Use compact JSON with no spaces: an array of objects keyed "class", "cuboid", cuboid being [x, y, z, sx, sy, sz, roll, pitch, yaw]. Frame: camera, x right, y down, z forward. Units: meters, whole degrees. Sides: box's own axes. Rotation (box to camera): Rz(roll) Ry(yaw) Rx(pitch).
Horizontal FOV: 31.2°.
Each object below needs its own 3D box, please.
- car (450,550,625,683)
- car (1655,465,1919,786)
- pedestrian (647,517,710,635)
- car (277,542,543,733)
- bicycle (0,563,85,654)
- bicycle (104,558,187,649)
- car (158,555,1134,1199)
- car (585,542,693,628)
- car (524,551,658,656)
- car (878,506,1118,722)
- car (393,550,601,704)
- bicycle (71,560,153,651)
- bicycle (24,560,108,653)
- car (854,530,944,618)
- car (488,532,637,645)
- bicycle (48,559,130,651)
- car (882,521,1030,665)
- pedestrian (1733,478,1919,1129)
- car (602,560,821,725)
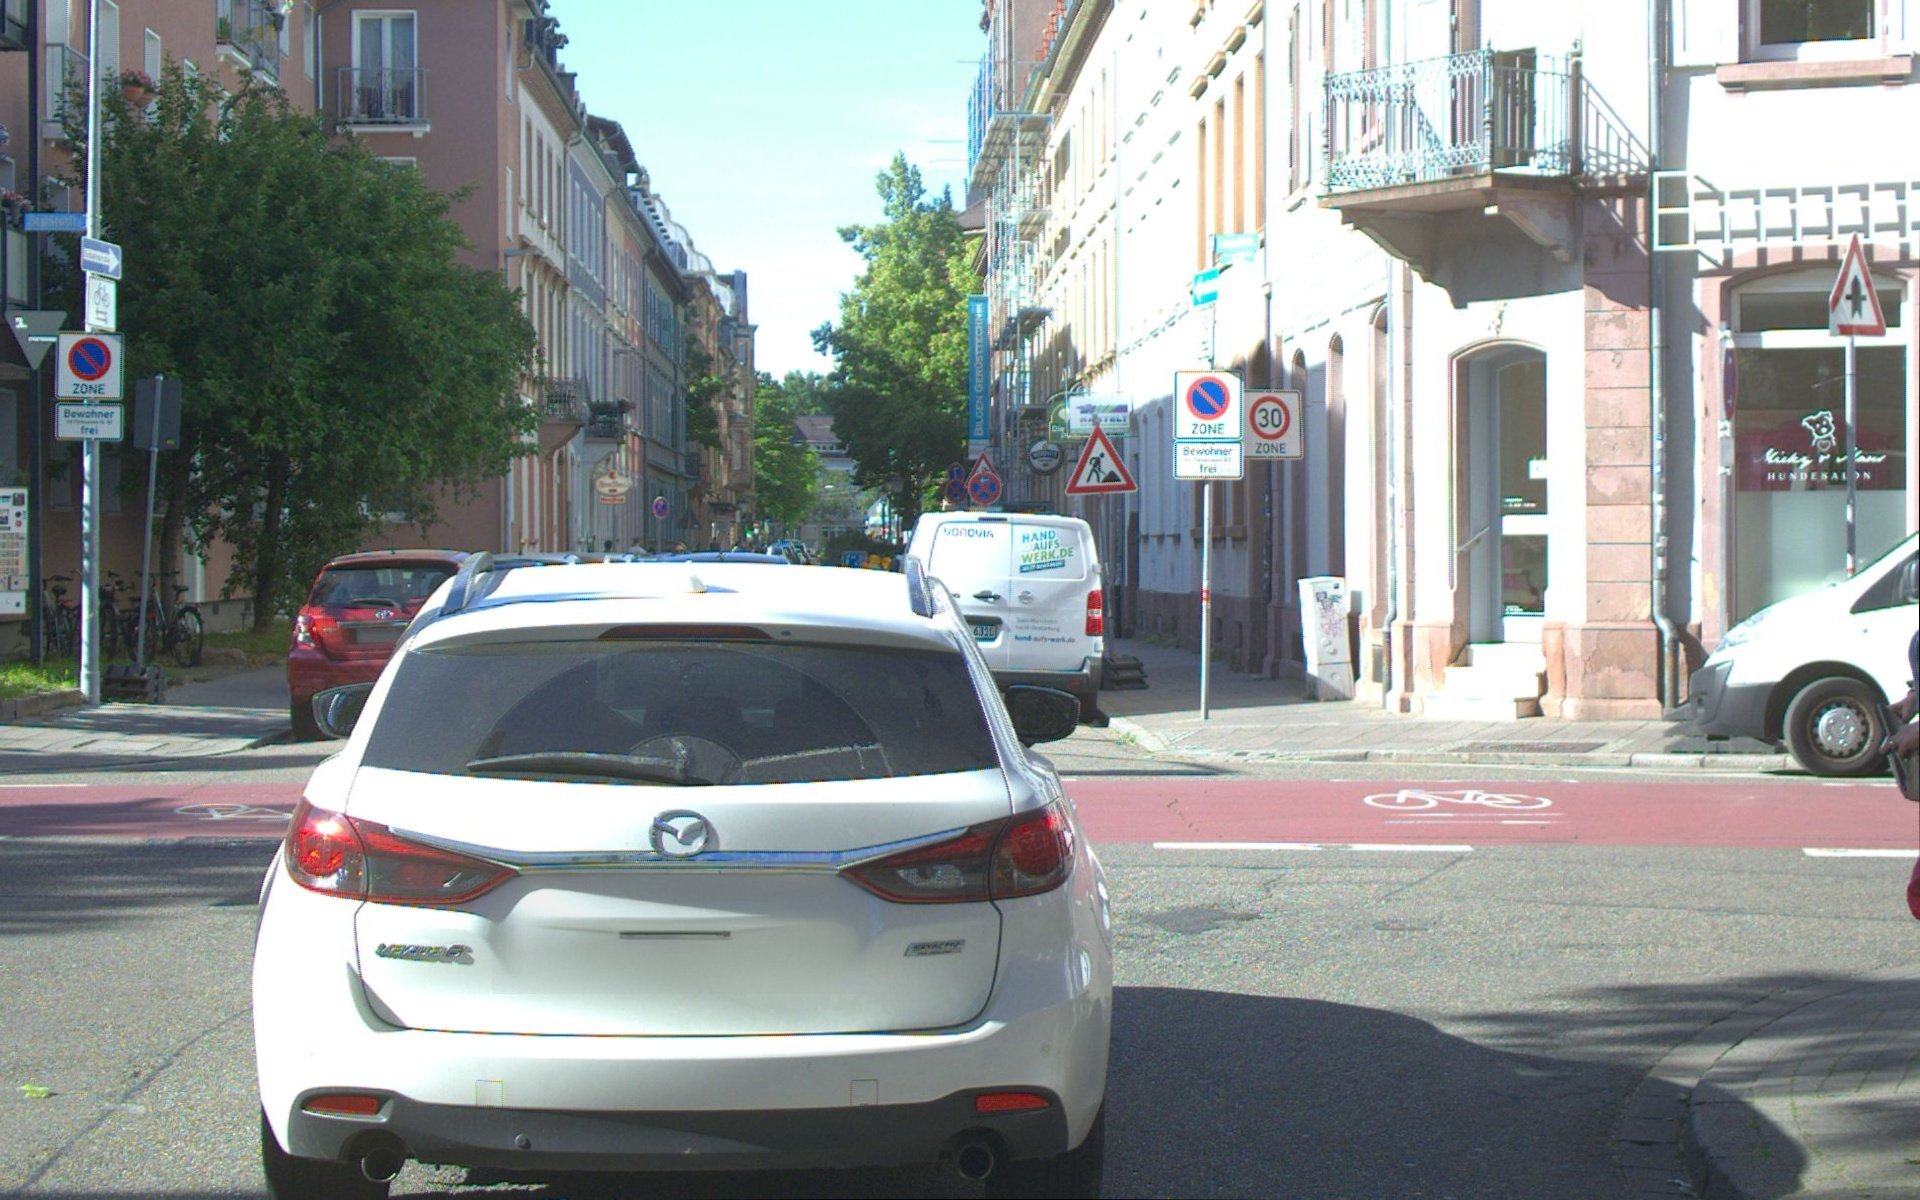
[{"class":"car","cuboid":[-4.940,0.159,40.589,1.653,1.495,3.763,0,1,-1]},{"class":"car","cuboid":[7.018,0.145,21.334,5.015,1.939,2.048,0,1,22]},{"class":"pedestrian","cuboid":[-3.904,-0.336,47.613,0.733,1.608,0.816,-1,1,-13]},{"class":"car","cuboid":[-4.630,0.270,29.417,1.685,1.495,3.807,-1,1,-1]},{"class":"bicycle","cuboid":[-10.670,0.093,39.965,1.215,1.032,0.290,1,1,38]},{"class":"bicycle","cuboid":[-9.692,0.039,40.877,1.218,1.068,0.253,1,1,38]},{"class":"car","cuboid":[-0.618,0.621,8.448,1.831,1.452,3.962,0,1,-1]},{"class":"car","cuboid":[-5.750,-0.294,61.920,1.653,1.495,3.763,0,1,-1]},{"class":"car","cuboid":[-5.473,0.023,51.323,1.653,1.495,3.763,0,1,-1]},{"class":"car","cuboid":[0.281,0.085,33.084,1.894,1.853,5.015,2,1,-3]},{"class":"car","cuboid":[-4.715,0.236,35.490,1.653,1.495,4.080,0,1,-1]},{"class":"bicycle","cuboid":[-10.054,0.060,40.742,1.215,1.068,0.253,1,1,38]},{"class":"bicycle","cuboid":[-10.470,0.072,40.230,1.215,1.068,0.265,1,1,38]},{"class":"car","cuboid":[-1.304,-0.578,74.246,1.894,1.853,3.995,0,1,-1]},{"class":"car","cuboid":[-5.423,-0.182,47.246,1.653,1.495,3.763,0,1,-1]},{"class":"bicycle","cuboid":[-10.265,0.058,40.500,1.215,1.067,0.253,1,1,38]},{"class":"car","cuboid":[-0.075,-0.124,46.118,1.894,1.853,3.995,0,1,-1]},{"class":"pedestrian","cuboid":[2.568,0.468,8.795,0.844,1.568,0.846,-5,0,-1]},{"class":"car","cuboid":[-2.227,0.337,31.765,1.760,1.405,4.328,0,1,-1]}]
